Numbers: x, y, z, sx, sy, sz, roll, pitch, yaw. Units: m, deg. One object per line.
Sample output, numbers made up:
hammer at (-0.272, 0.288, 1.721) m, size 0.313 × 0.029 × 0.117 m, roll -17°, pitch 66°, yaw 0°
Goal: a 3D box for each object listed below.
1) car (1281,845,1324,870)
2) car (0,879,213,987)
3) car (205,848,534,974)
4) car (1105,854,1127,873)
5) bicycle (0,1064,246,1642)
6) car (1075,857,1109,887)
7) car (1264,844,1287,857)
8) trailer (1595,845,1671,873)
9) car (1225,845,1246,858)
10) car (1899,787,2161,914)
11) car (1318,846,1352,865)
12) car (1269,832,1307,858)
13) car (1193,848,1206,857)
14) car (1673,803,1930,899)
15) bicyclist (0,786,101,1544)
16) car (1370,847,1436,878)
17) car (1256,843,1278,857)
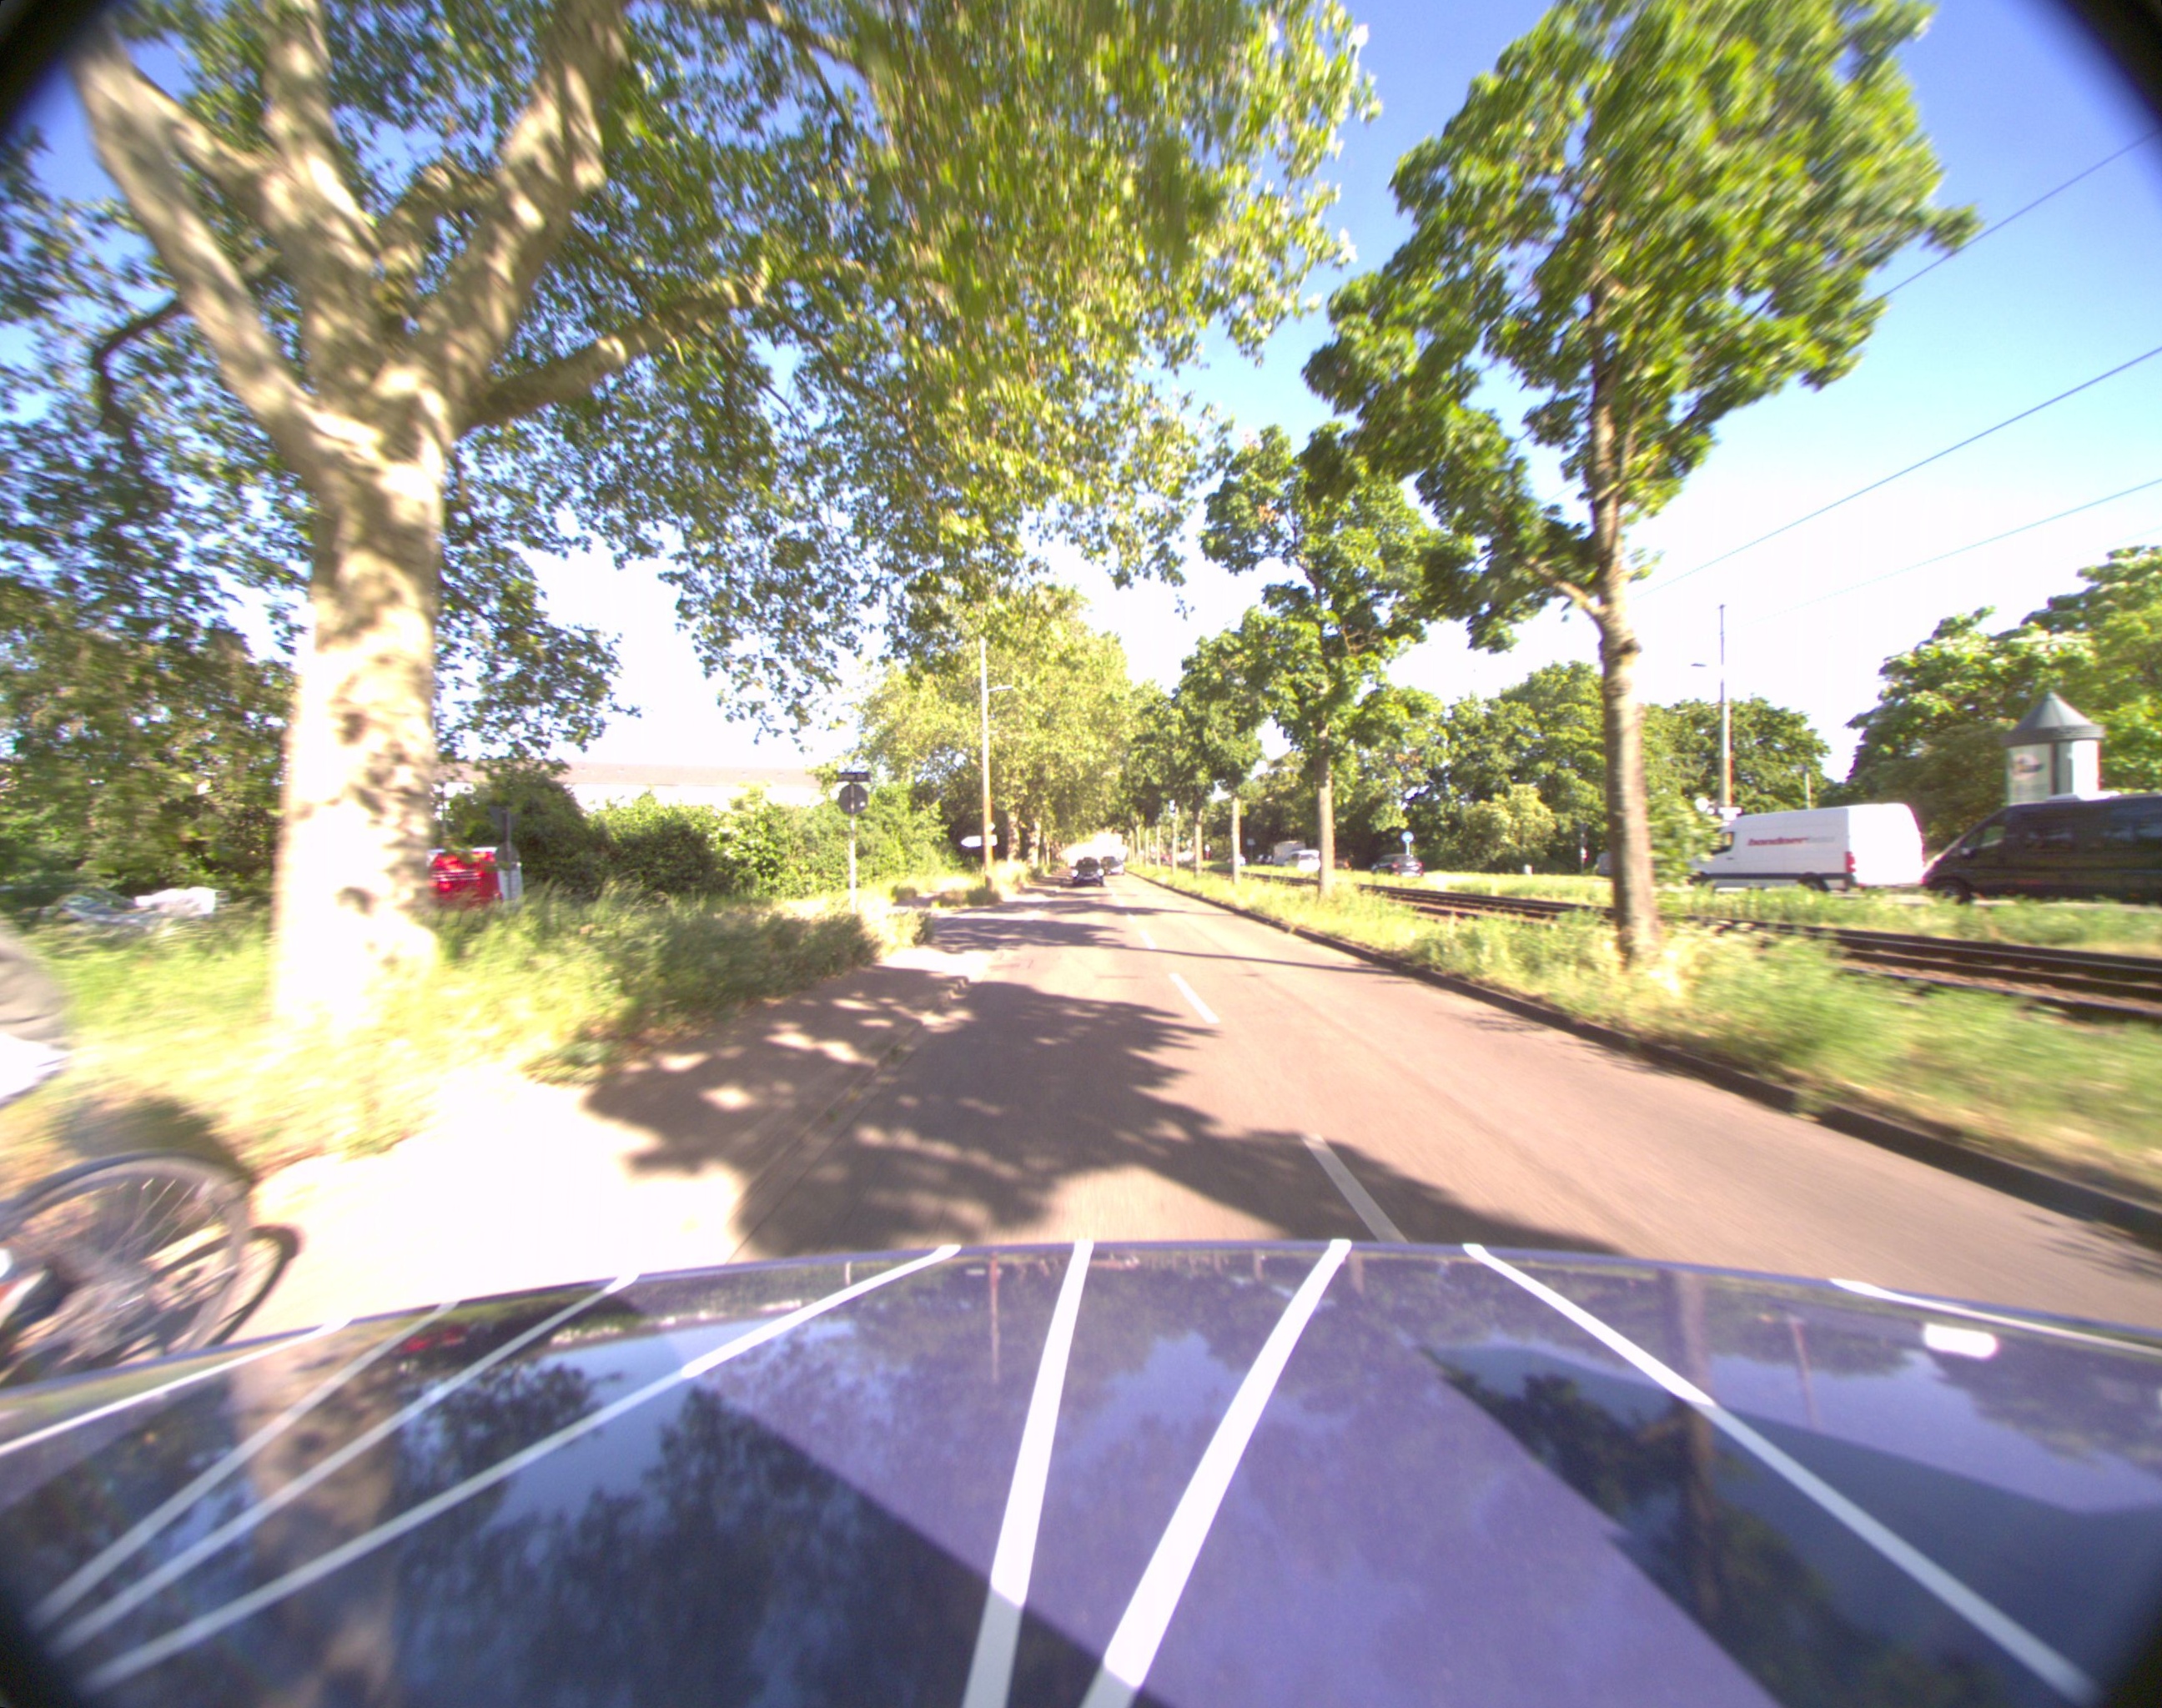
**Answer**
car at (16.834, 0.224, 57.944) m, size 1.815 × 1.734 × 4.981 m, roll -2°, pitch 1°, yaw 1°
car at (-21.945, 1.639, 15.396) m, size 5.154 × 1.931 × 2.289 m, roll -3°, pitch 1°, yaw -23°
car at (-16.153, 1.189, 17.735) m, size 5.005 × 2.424 × 2.325 m, roll -3°, pitch 0°, yaw -23°
car at (2.971, 0.817, 64.781) m, size 1.714 × 1.478 × 3.547 m, roll -2°, pitch 1°, yaw 2°
bicycle at (-2.628, 1.175, 1.251) m, size 0.441 × 1.146 × 1.823 m, roll -1°, pitch 0°, yaw 1°
car at (0.587, 0.995, 43.419) m, size 1.808 × 1.478 × 3.546 m, roll -2°, pitch 1°, yaw 0°
car at (22.506, -0.447, 88.211) m, size 1.715 × 1.426 × 4.000 m, roll -2°, pitch 1°, yaw 2°
trailer at (32.655, 0.280, 44.971) m, size 3.762 × 1.495 × 1.751 m, roll -3°, pitch 1°, yaw -19°
car at (17.374, -0.276, 85.489) m, size 1.561 × 1.387 × 3.820 m, roll -2°, pitch 1°, yaw 0°
car at (21.325, -0.122, 15.561) m, size 2.188 × 2.362 × 6.464 m, roll -2°, pitch 1°, yaw 1°
car at (22.182, 0.127, 66.478) m, size 1.678 × 1.575 × 4.248 m, roll -2°, pitch 1°, yaw 2°
car at (21.925, -0.939, 80.887) m, size 2.231 × 2.565 × 6.799 m, roll -2°, pitch 0°, yaw 1°
car at (21.191, -0.338, 135.719) m, size 1.731 × 1.519 × 4.442 m, roll -2°, pitch 1°, yaw 1°
car at (21.628, -0.111, 23.349) m, size 2.007 × 2.482 × 6.136 m, roll -2°, pitch 1°, yaw 0°
bicyclist at (-2.635, 0.669, 1.322) m, size 0.615 × 1.619 × 0.909 m, roll -1°, pitch 1°, yaw 1°
car at (17.095, 0.439, 40.483) m, size 1.998 × 1.522 × 3.751 m, roll -1°, pitch 0°, yaw 2°
car at (22.699, -0.476, 92.786) m, size 1.772 × 1.554 × 4.282 m, roll -2°, pitch 1°, yaw 3°
